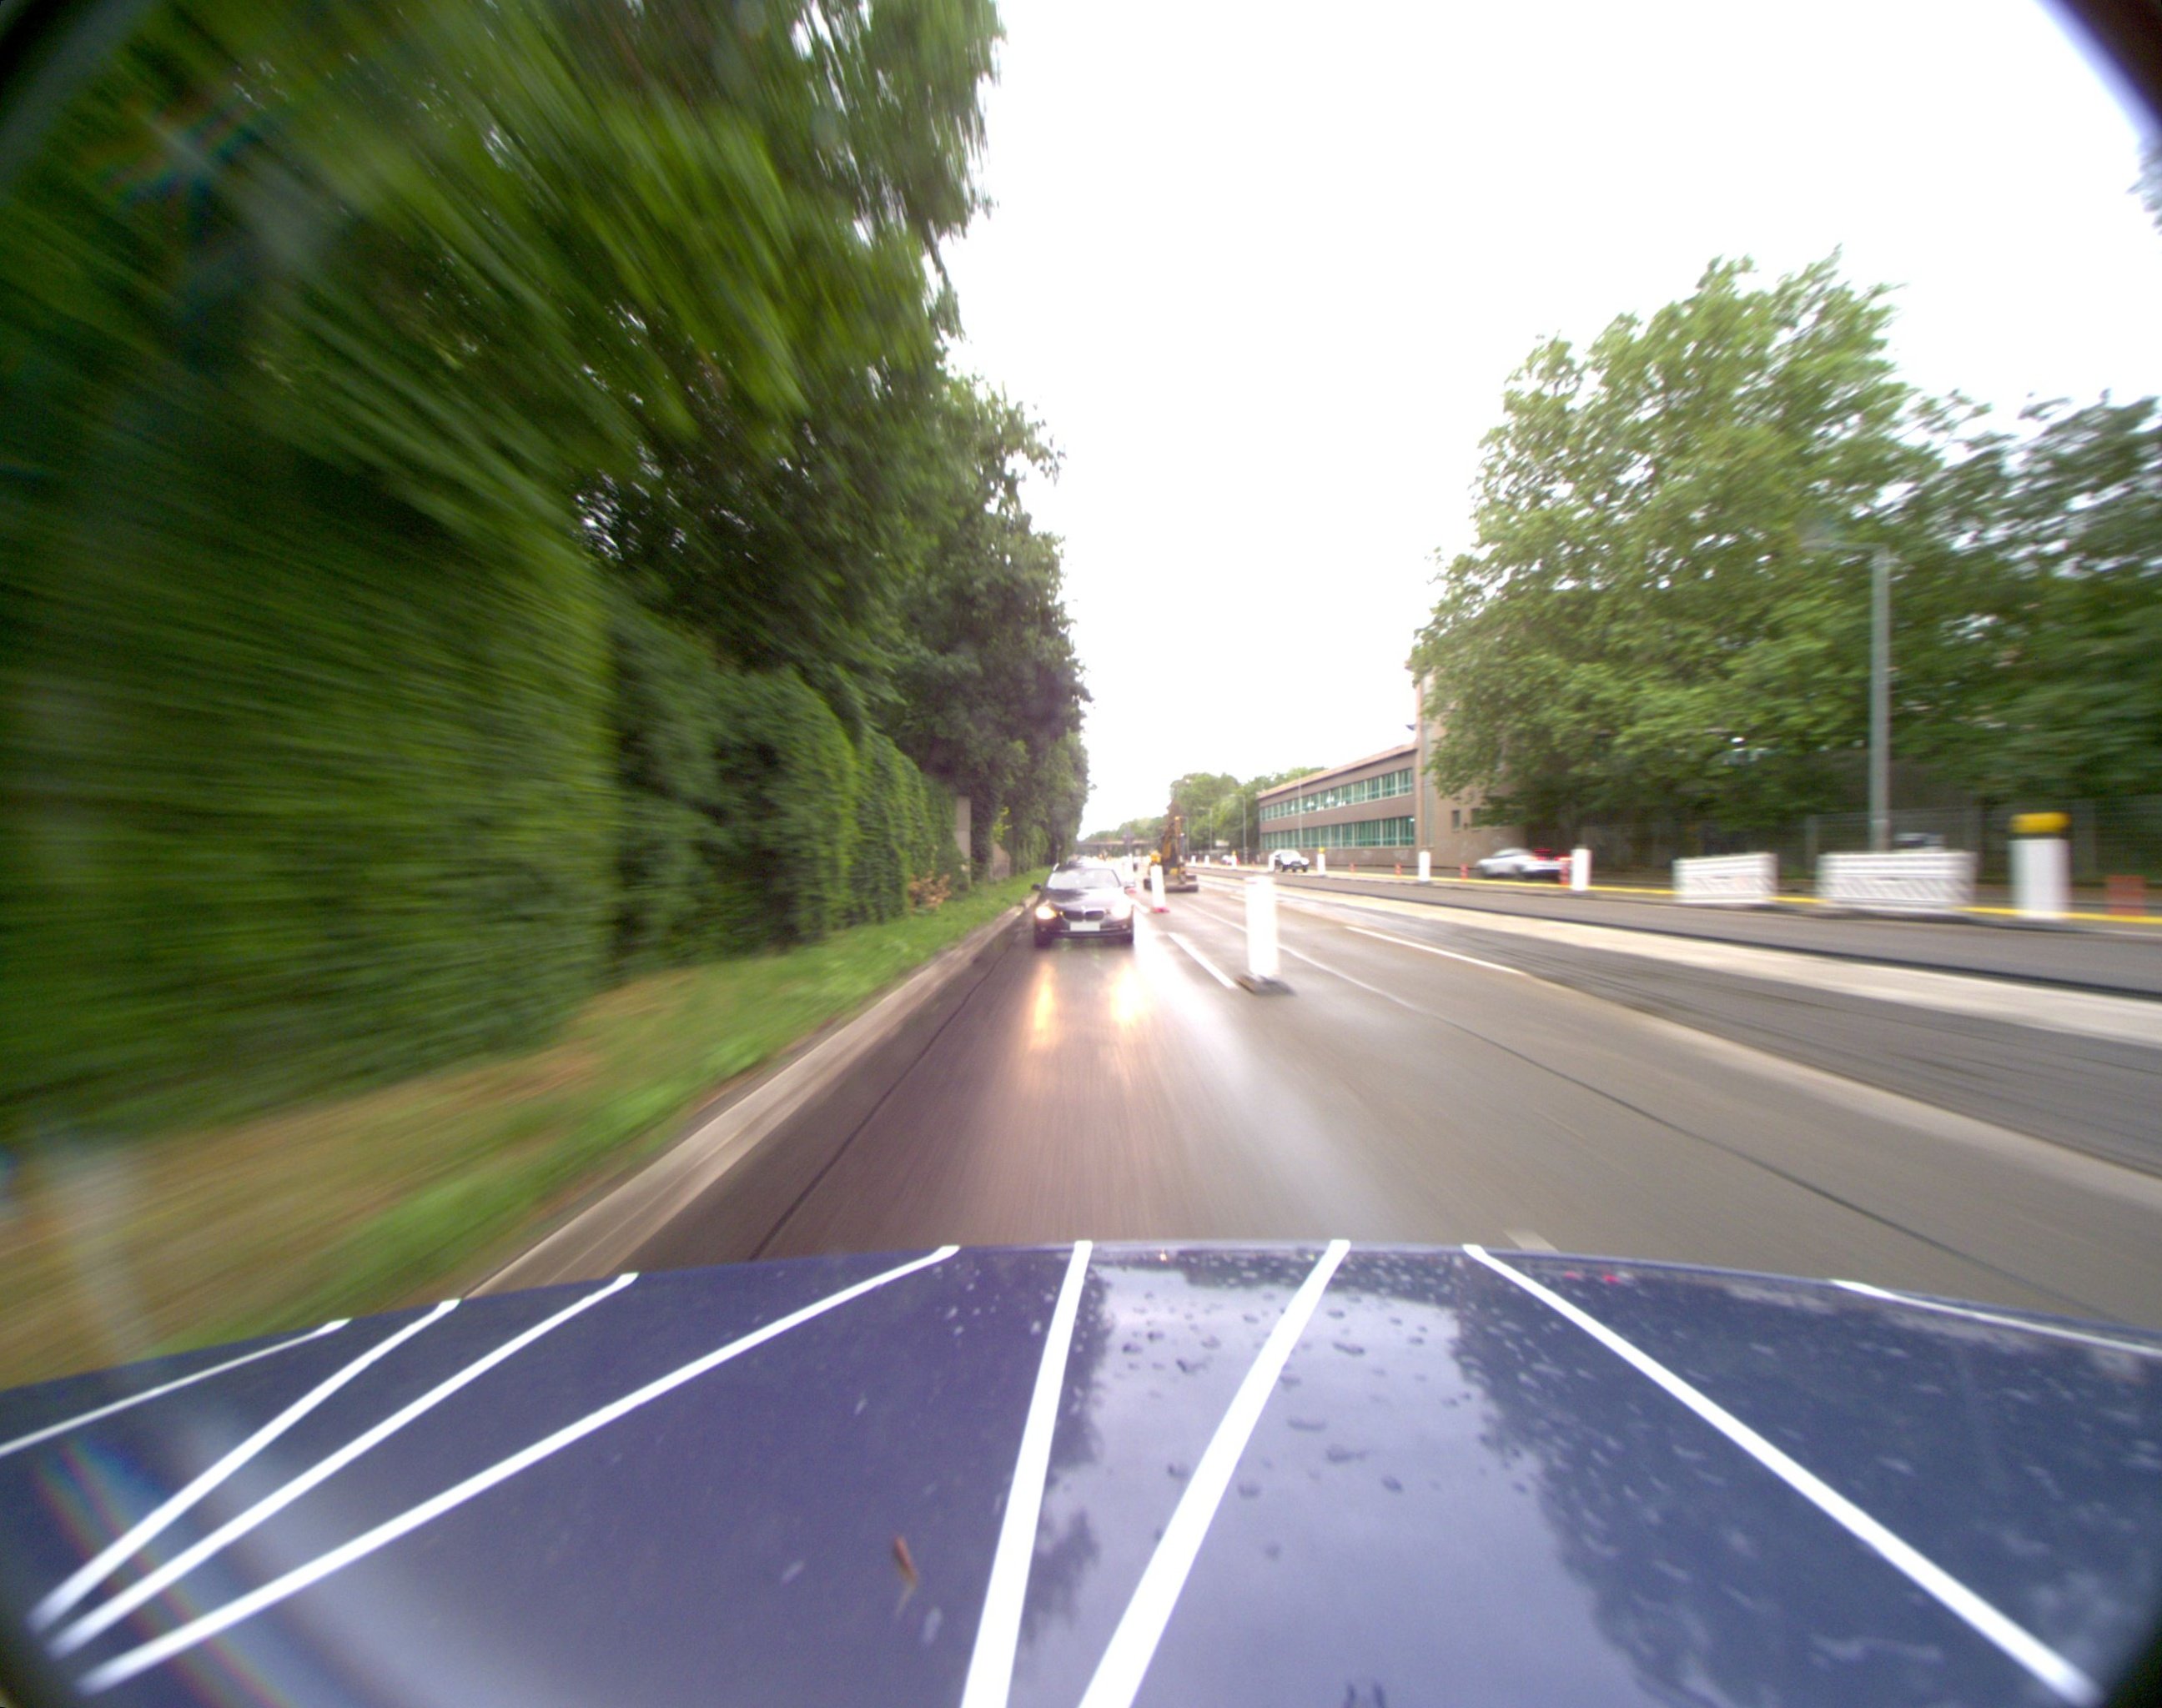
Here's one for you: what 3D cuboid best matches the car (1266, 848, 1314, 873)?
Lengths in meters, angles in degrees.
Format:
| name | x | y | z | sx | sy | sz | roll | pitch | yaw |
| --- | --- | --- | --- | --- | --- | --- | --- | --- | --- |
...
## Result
| name | x | y | z | sx | sy | sz | roll | pitch | yaw |
| --- | --- | --- | --- | --- | --- | --- | --- | --- | --- |
| car | 15.522 | 0.523 | 56.773 | 1.999 | 1.695 | 4.983 | 3 | -1 | -2 |

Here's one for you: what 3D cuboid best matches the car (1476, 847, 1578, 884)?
| name | x | y | z | sx | sy | sz | roll | pitch | yaw |
| --- | --- | --- | --- | --- | --- | --- | --- | --- | --- |
| car | 18.606 | 0.444 | 31.923 | 1.841 | 1.426 | 4.148 | -1 | 0 | 0 |

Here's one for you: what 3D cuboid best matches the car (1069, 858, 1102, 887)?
| name | x | y | z | sx | sy | sz | roll | pitch | yaw |
| --- | --- | --- | --- | --- | --- | --- | --- | --- | --- |
| car | 0.264 | 0.984 | 42.233 | 1.742 | 1.454 | 4.458 | -1 | 0 | 1 |

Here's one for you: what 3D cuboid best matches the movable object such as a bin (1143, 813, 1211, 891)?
| name | x | y | z | sx | sy | sz | roll | pitch | yaw |
| --- | --- | --- | --- | --- | --- | --- | --- | --- | --- |
| movable object such as a bin | 4.111 | -0.090 | 33.425 | 1.999 | 3.084 | 5.623 | -1 | 0 | -2 |

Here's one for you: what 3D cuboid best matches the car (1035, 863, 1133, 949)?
| name | x | y | z | sx | sy | sz | roll | pitch | yaw |
| --- | --- | --- | --- | --- | --- | --- | --- | --- | --- |
| car | 0.171 | 0.968 | 15.987 | 1.742 | 1.454 | 4.459 | -1 | 0 | 3 |
